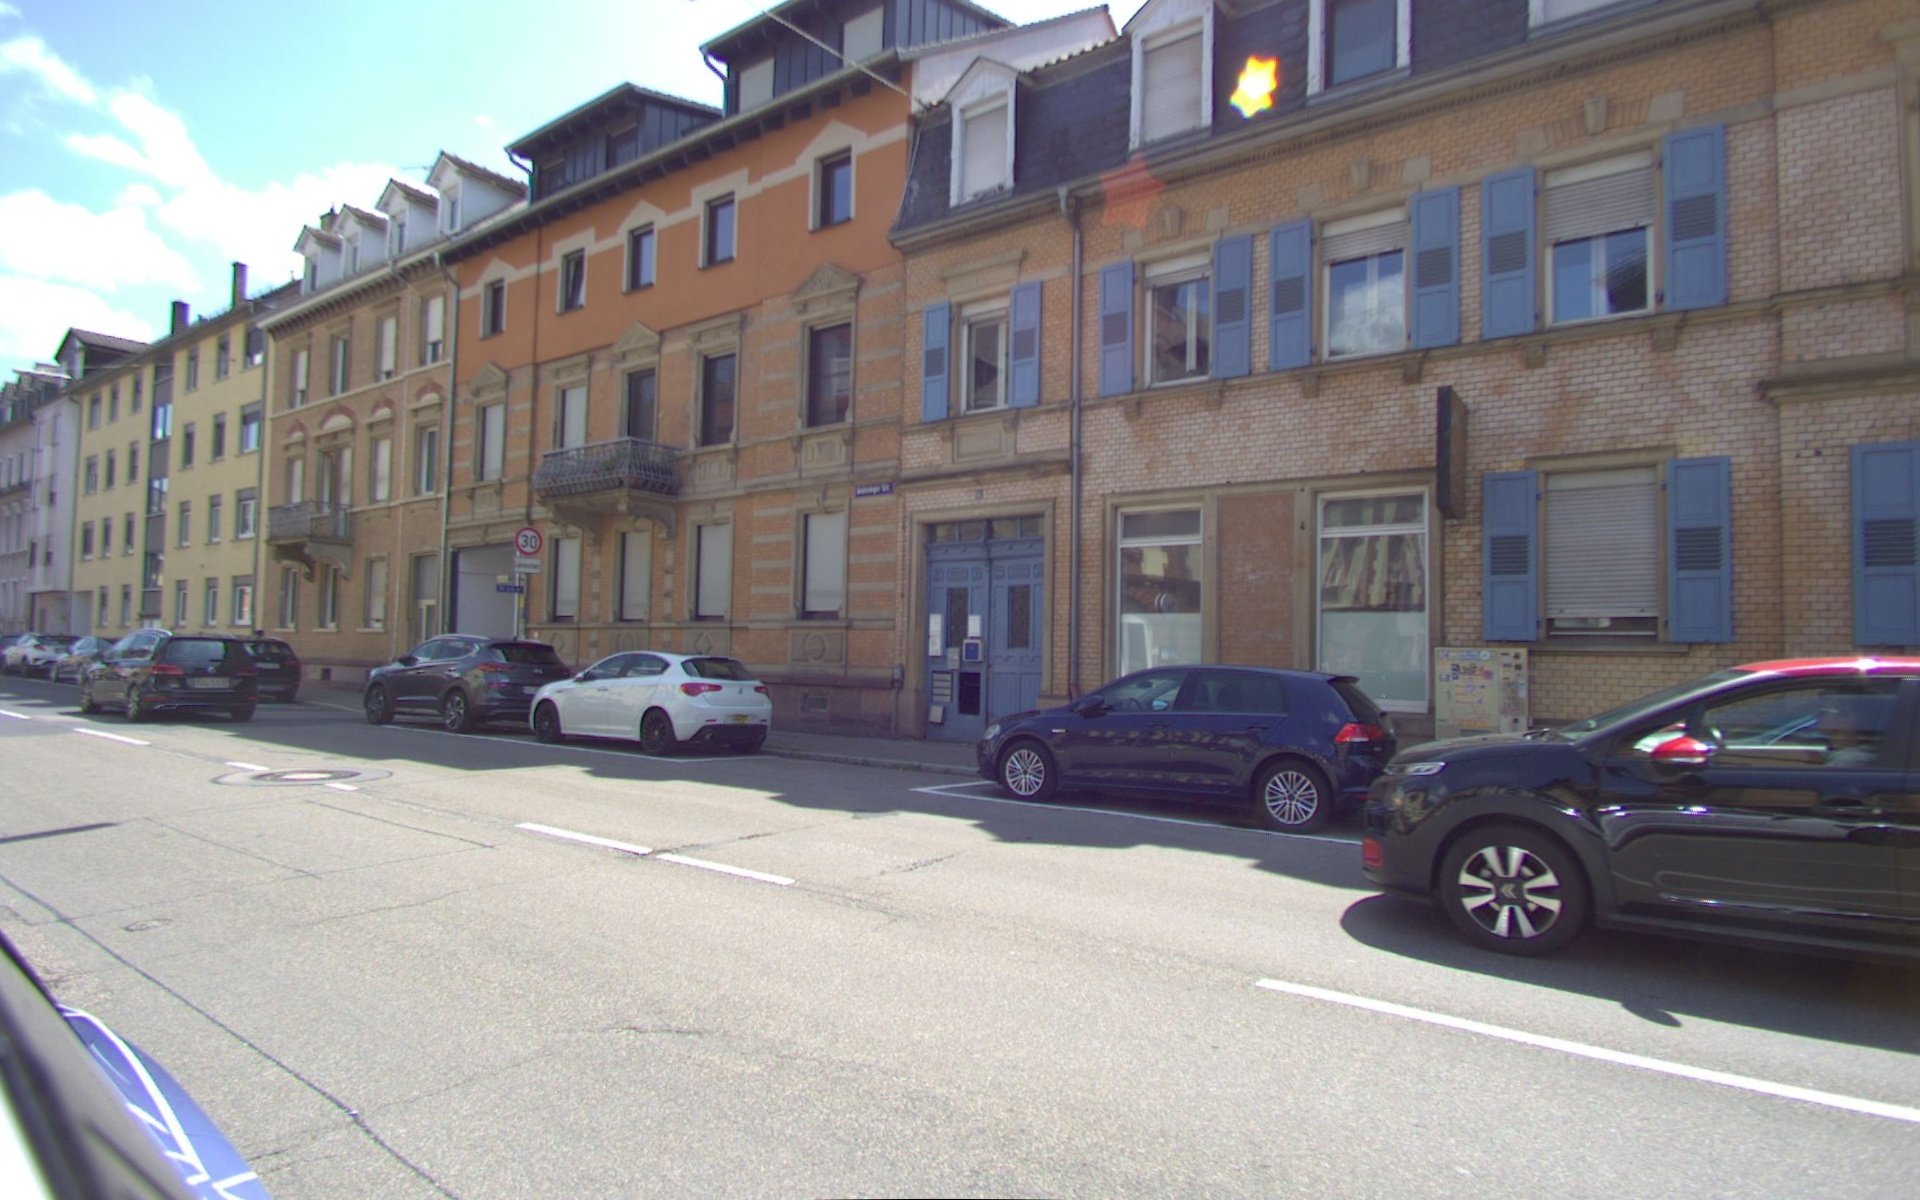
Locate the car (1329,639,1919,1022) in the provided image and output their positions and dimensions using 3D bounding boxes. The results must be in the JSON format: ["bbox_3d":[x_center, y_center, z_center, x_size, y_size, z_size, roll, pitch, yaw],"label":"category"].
[{"bbox_3d":[4.100,0.966,4.809,4.125,1.489,1.686,-1,-4,37],"label":"car"}]

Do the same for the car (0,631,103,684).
[{"bbox_3d":[-30.746,1.917,34.012,4.304,1.563,1.848,-1,-7,36],"label":"car"}]

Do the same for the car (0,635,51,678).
[{"bbox_3d":[-34.891,2.019,36.923,3.908,1.421,1.728,-1,-7,37],"label":"car"}]

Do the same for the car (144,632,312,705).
[{"bbox_3d":[-18.086,1.666,24.947,4.490,1.563,1.849,-1,-7,35],"label":"car"}]

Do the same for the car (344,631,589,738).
[{"bbox_3d":[-8.815,1.467,17.959,4.489,1.640,1.849,-1,-7,35],"label":"car"}]

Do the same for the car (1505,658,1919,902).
[{"bbox_3d":[6.488,1.222,6.841,4.824,1.417,1.850,-1,-7,33],"label":"car"}]

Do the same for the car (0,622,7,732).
[{"bbox_3d":[-15.876,1.106,15.070,3.992,1.580,1.738,-1,-3,36],"label":"car"}]

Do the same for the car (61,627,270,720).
[{"bbox_3d":[-14.370,1.276,18.243,4.235,1.506,1.745,-1,-4,35],"label":"car"}]

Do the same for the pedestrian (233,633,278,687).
[{"bbox_3d":[-20.411,1.736,29.326,0.875,1.546,0.794,-2,-4,41],"label":"pedestrian"}]

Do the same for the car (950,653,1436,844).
[{"bbox_3d":[2.231,1.348,10.033,4.317,1.417,1.850,0,-7,33],"label":"car"}]

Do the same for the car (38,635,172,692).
[{"bbox_3d":[-25.561,1.883,30.215,4.677,1.463,1.888,-1,-7,36],"label":"car"}]

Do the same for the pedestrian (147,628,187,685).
[{"bbox_3d":[-25.229,1.792,32.197,0.876,1.769,0.793,-2,-5,44],"label":"pedestrian"}]

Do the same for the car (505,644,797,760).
[{"bbox_3d":[-4.673,1.478,15.104,4.322,1.437,1.848,-1,-7,36],"label":"car"}]
